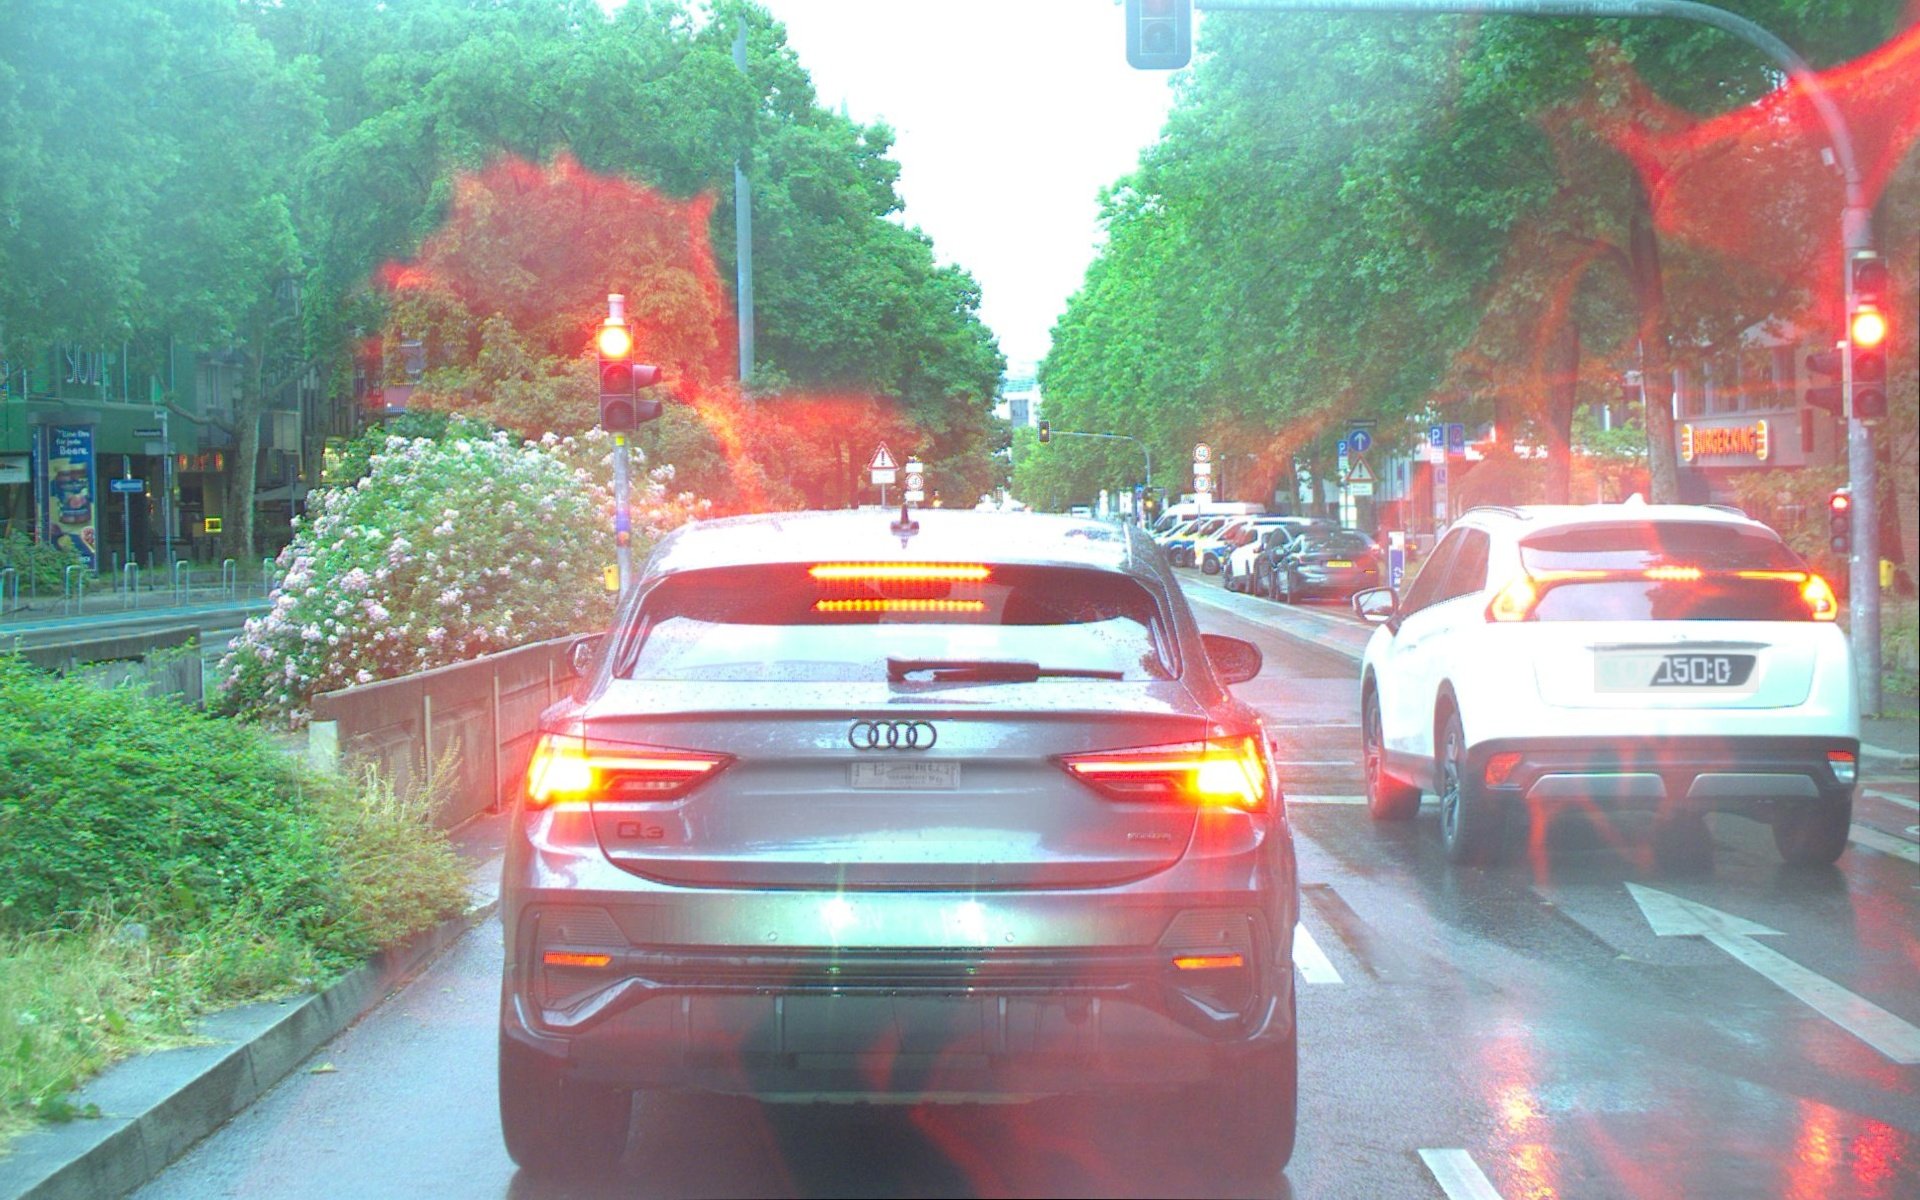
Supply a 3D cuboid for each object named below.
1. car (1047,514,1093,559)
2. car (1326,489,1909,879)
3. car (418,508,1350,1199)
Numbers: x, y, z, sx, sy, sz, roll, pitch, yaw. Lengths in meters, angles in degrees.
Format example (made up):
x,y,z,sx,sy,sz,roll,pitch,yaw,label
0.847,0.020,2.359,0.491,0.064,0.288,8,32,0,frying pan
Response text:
x,y,z,sx,sy,sz,roll,pitch,yaw,label
4.153,-2.434,130.762,1.620,1.660,4.000,-1,2,0,car
3.081,0.300,17.188,1.993,1.649,4.889,-1,1,0,car
-0.142,0.521,9.109,1.918,1.486,4.000,0,2,0,car
